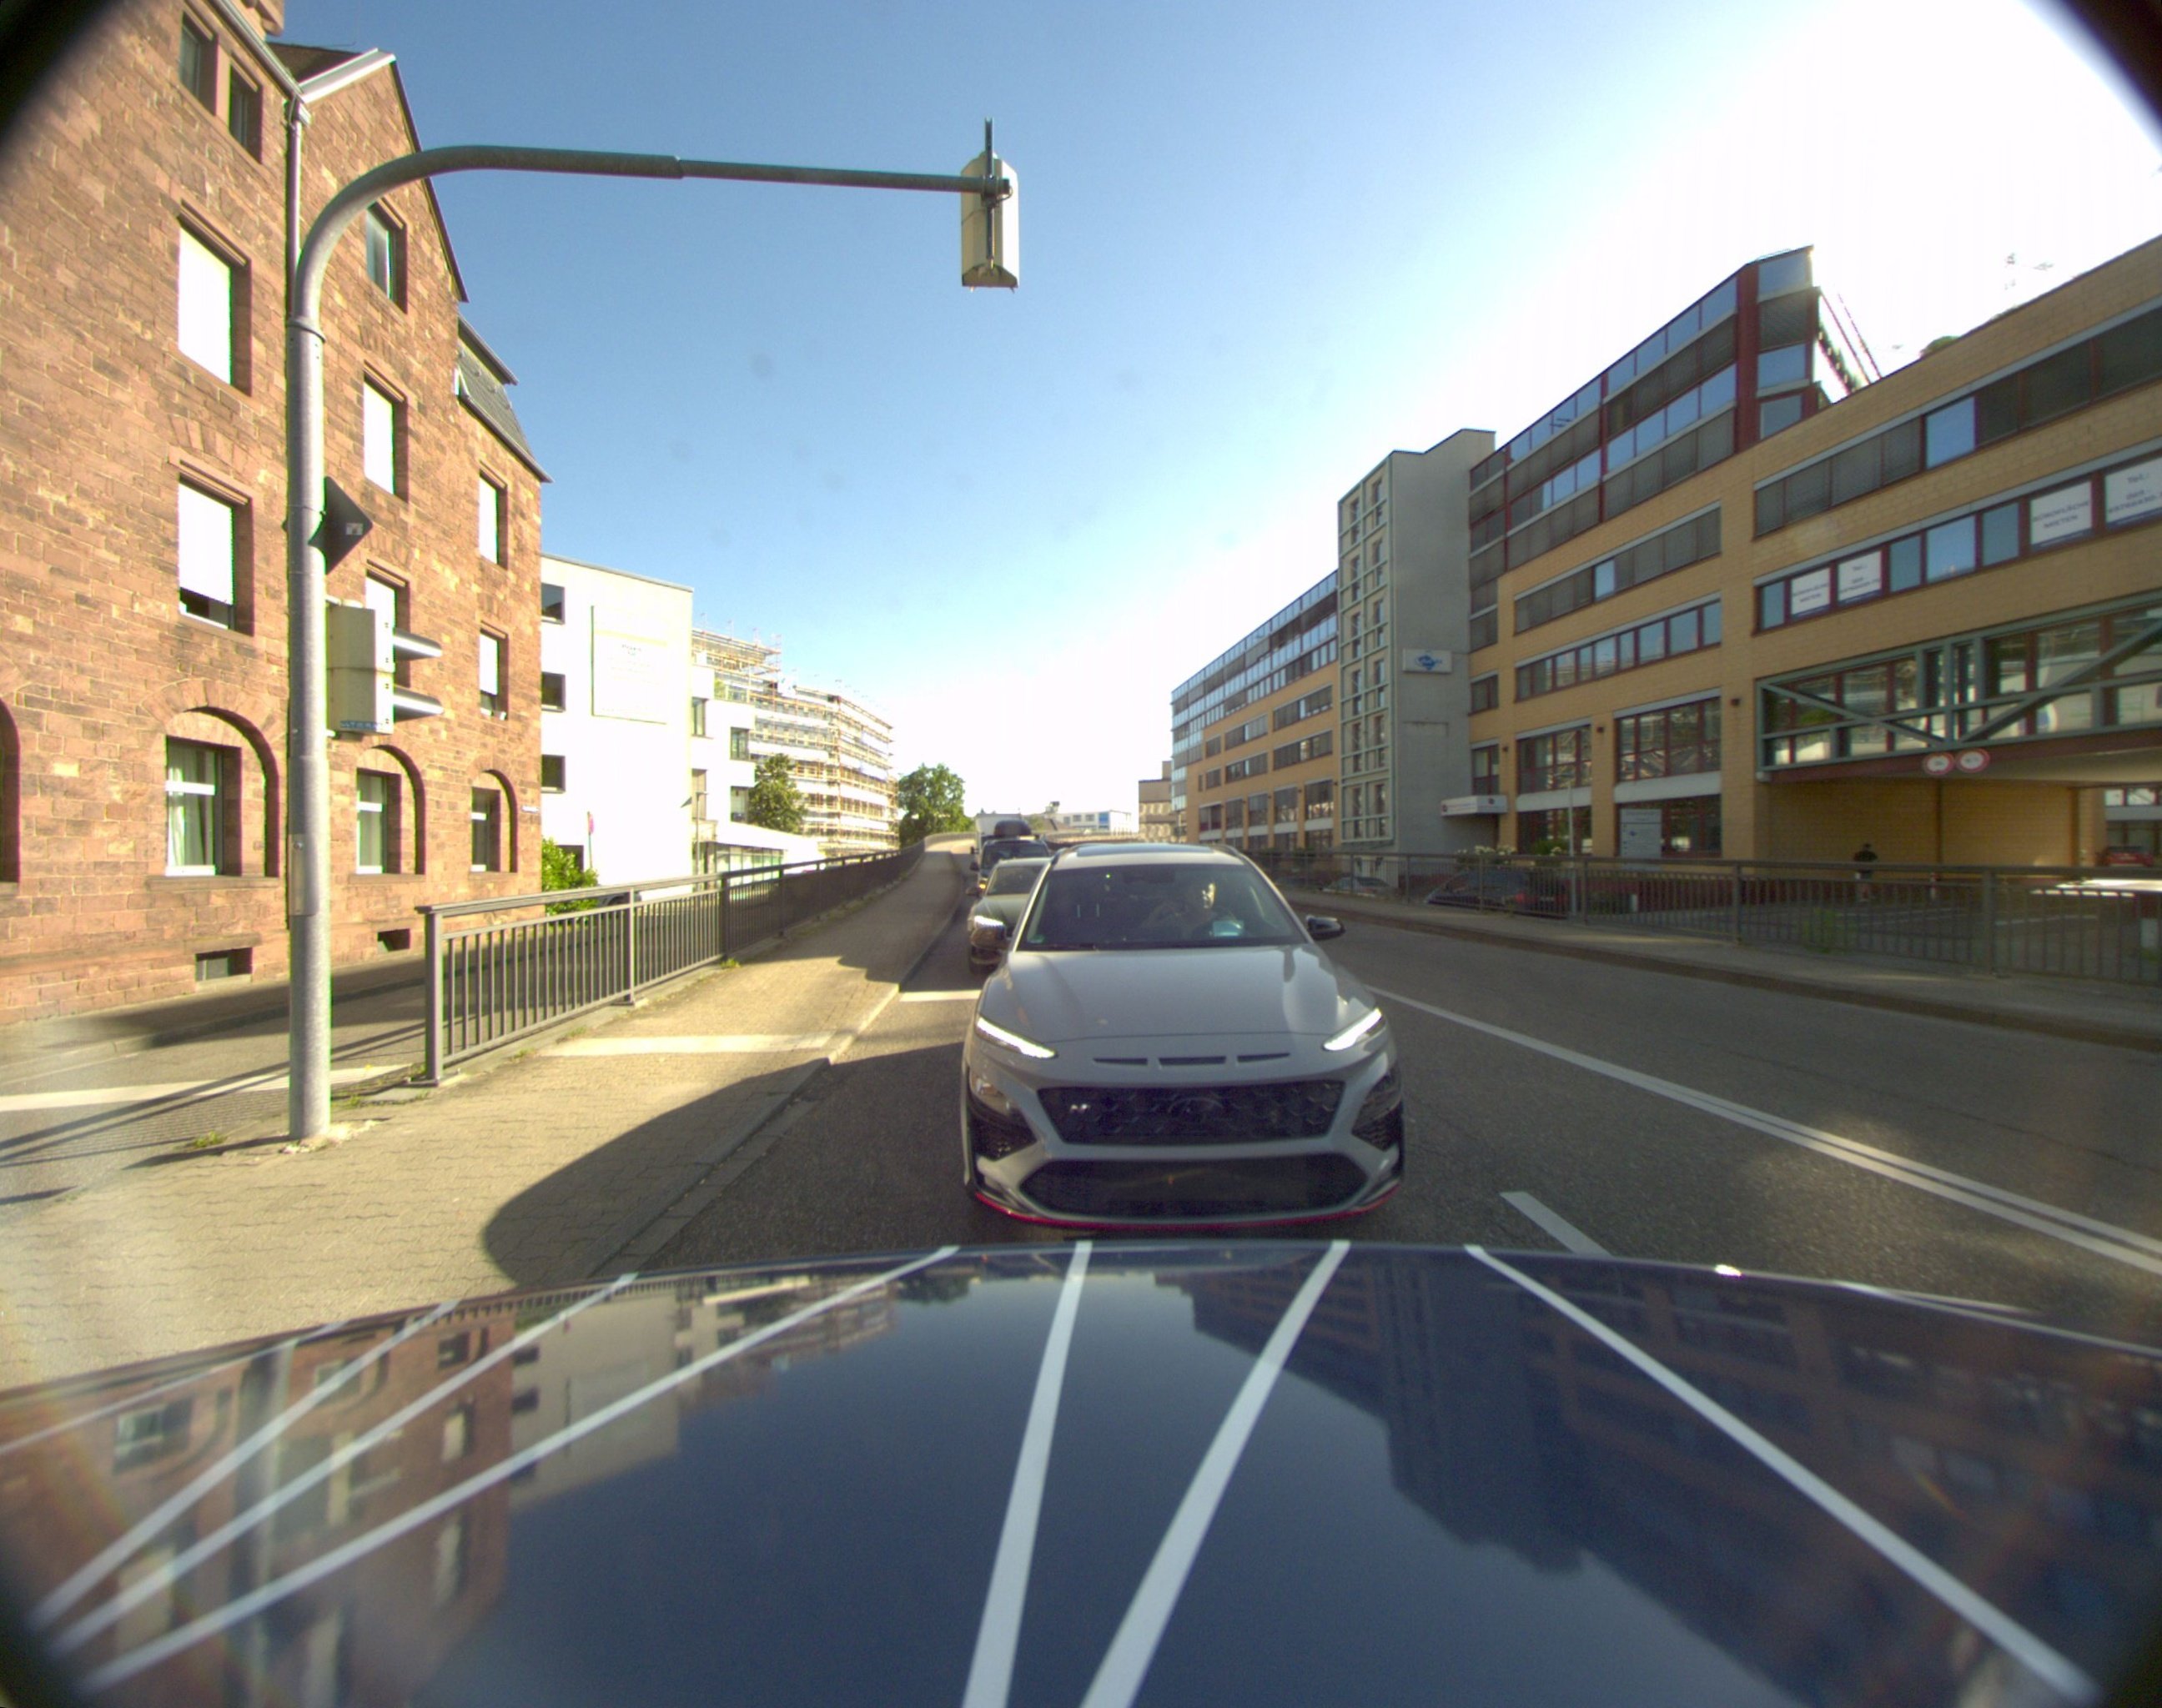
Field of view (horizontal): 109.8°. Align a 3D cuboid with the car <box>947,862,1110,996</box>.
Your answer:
[{"bbox_3d":[-0.770,0.886,11.117,1.879,1.462,4.633,0,0,-4],"label":"car"}]

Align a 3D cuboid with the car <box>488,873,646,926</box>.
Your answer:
[{"bbox_3d":[-17.059,1.442,25.334,4.101,1.522,1.914,0,-1,-44],"label":"car"}]

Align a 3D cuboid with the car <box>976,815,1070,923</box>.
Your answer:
[{"bbox_3d":[-1.428,0.339,18.276,1.951,2.248,4.783,0,-1,-5],"label":"car"}]

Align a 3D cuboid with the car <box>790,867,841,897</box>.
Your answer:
[{"bbox_3d":[-14.442,1.481,41.558,2.054,1.522,4.089,-1,-1,-11],"label":"car"}]

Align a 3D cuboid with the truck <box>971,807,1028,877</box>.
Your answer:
[{"bbox_3d":[-4.076,-0.480,37.432,2.504,3.109,6.956,-1,-1,-7],"label":"truck"}]

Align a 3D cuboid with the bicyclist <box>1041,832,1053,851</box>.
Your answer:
[{"bbox_3d":[-3.543,-1.313,78.493,1.083,1.861,1.083,-2,1,-9],"label":"bicyclist"}]

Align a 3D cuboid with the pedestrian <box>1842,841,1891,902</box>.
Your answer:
[{"bbox_3d":[24.424,0.547,23.626,0.747,1.840,0.705,-2,0,-5],"label":"pedestrian"}]

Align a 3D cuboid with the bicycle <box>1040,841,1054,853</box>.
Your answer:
[{"bbox_3d":[-3.474,-0.729,78.242,1.083,1.223,2.781,-2,1,-9],"label":"bicycle"}]

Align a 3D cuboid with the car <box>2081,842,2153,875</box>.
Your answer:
[{"bbox_3d":[54.015,0.227,39.695,4.007,1.512,1.763,-3,1,-43],"label":"car"}]

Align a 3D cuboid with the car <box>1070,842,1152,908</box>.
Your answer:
[{"bbox_3d":[0.759,0.567,21.977,1.879,1.699,4.195,0,-1,-4],"label":"car"}]

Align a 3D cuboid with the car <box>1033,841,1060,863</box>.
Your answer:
[{"bbox_3d":[-2.528,-0.193,55.539,1.573,1.400,3.817,-2,3,-9],"label":"car"}]

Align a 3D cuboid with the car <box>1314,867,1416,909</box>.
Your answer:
[{"bbox_3d":[11.237,1.312,30.401,1.881,1.514,4.157,0,-1,-11],"label":"car"}]

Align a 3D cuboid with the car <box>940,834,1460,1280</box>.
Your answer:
[{"bbox_3d":[0.501,0.748,4.865,1.878,1.612,4.197,0,0,2],"label":"car"}]

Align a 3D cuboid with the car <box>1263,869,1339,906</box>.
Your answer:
[{"bbox_3d":[10.251,1.527,35.700,1.885,1.554,3.997,0,-1,-9],"label":"car"}]

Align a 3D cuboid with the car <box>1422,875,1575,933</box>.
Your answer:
[{"bbox_3d":[12.367,1.414,22.836,1.639,1.514,4.156,0,-1,-14],"label":"car"}]

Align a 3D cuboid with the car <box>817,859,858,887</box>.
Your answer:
[{"bbox_3d":[-15.809,1.225,49.465,2.054,1.676,4.089,-1,-1,-11],"label":"car"}]

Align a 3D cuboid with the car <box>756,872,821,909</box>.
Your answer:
[{"bbox_3d":[-13.366,1.622,34.999,2.054,1.522,4.089,-1,-1,-11],"label":"car"}]

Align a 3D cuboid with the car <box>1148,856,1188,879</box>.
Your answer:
[{"bbox_3d":[6.365,0.962,56.098,2.000,1.499,3.997,-2,1,-8],"label":"car"}]
